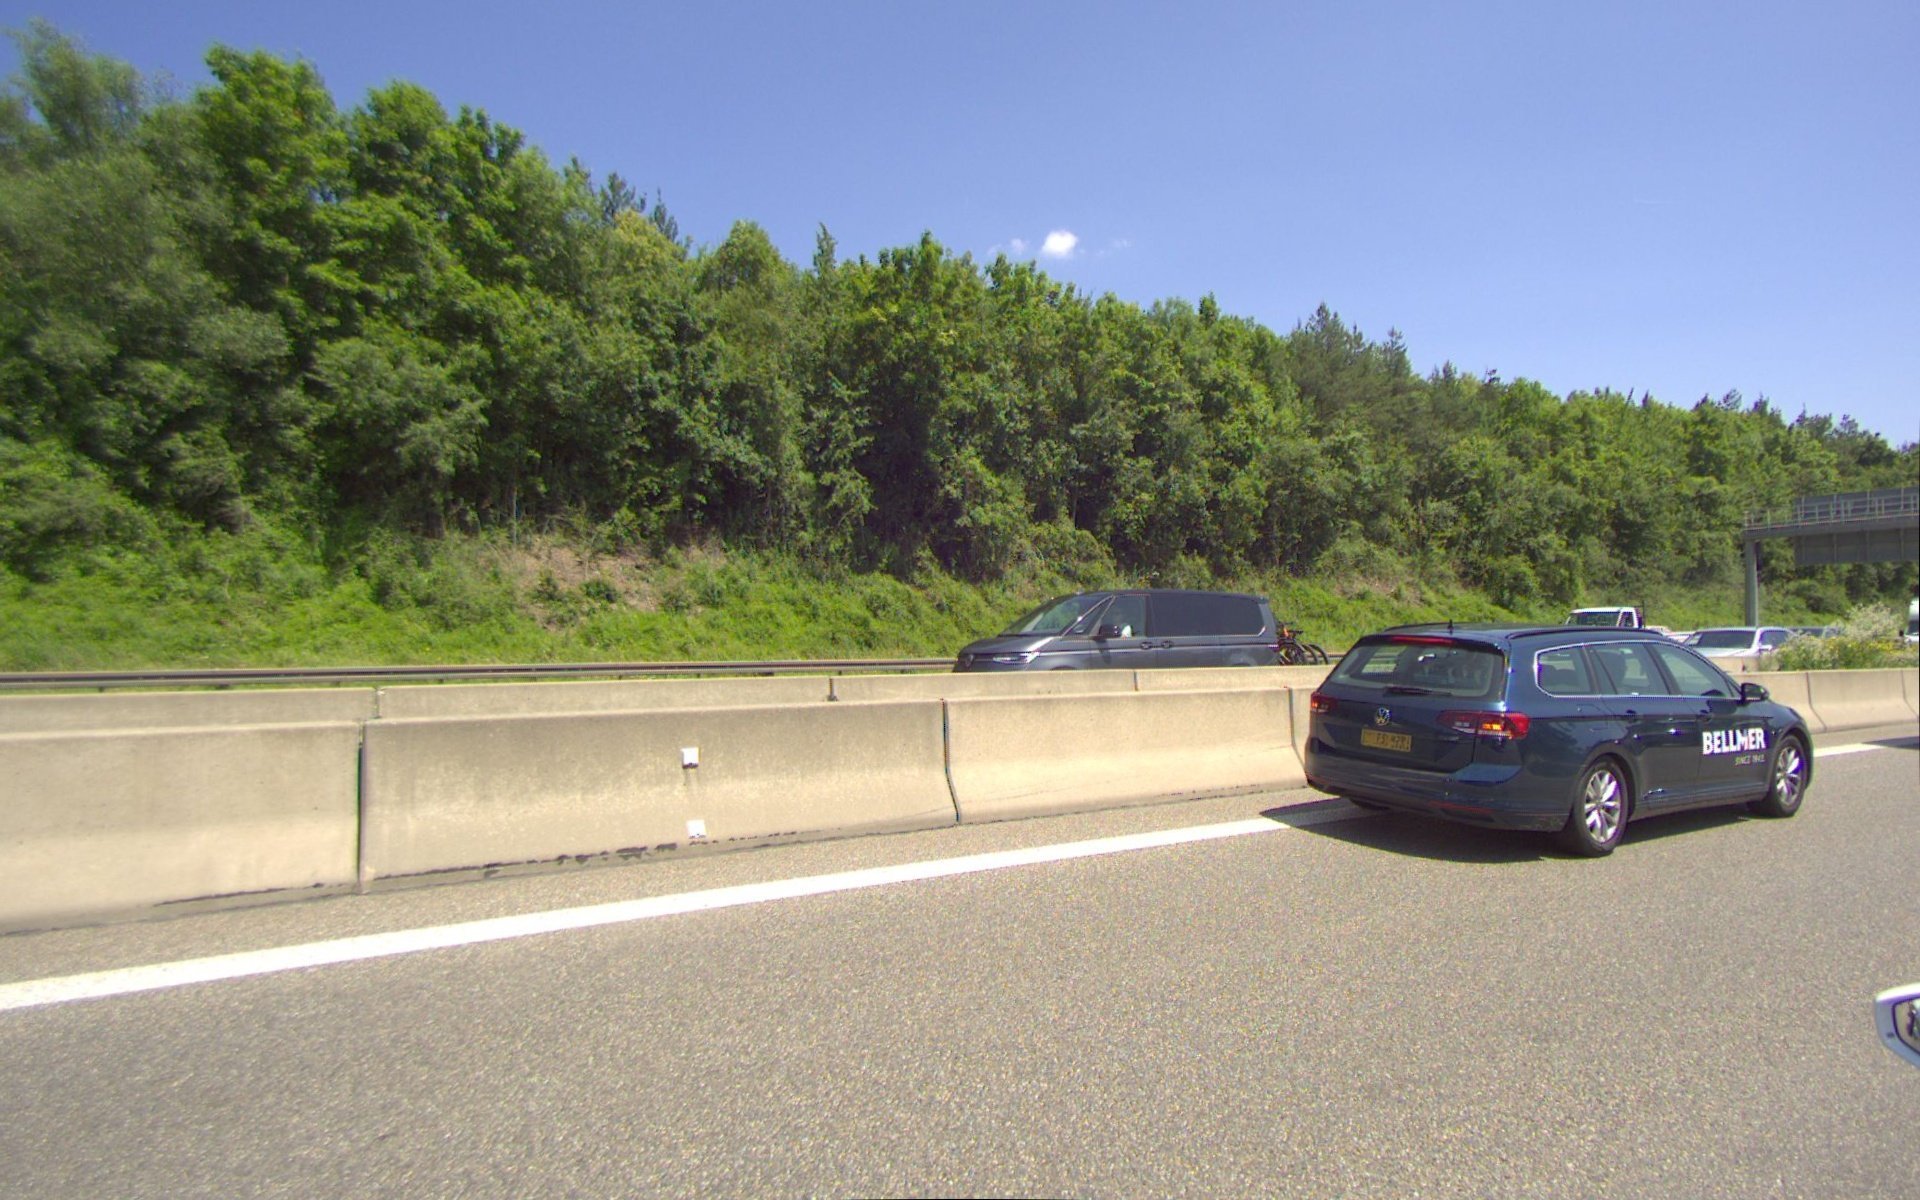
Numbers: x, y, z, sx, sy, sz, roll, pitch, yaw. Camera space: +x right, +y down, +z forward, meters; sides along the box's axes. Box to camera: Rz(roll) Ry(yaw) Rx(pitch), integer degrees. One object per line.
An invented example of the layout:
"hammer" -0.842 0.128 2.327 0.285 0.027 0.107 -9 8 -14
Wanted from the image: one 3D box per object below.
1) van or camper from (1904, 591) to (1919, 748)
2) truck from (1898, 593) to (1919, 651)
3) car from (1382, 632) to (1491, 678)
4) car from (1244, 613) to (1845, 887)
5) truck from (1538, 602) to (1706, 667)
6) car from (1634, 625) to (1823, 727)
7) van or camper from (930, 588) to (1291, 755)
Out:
"van or camper" 13.962 0.871 12.657 4.508 1.905 1.844 1 0 -31
"truck" 50.795 1.224 51.535 6.666 2.923 2.166 2 -1 -31
"car" 16.907 1.949 35.602 3.504 1.504 1.919 2 -1 -32
"car" 4.478 0.899 7.504 4.624 1.469 1.865 2 -1 -31
"truck" 22.868 1.201 34.592 6.420 2.040 2.339 2 -1 -32
"car" 17.198 1.646 22.460 3.953 2.040 1.984 2 -1 -30
"van or camper" 2.198 0.954 14.306 4.868 2.040 1.985 2 -1 -29
